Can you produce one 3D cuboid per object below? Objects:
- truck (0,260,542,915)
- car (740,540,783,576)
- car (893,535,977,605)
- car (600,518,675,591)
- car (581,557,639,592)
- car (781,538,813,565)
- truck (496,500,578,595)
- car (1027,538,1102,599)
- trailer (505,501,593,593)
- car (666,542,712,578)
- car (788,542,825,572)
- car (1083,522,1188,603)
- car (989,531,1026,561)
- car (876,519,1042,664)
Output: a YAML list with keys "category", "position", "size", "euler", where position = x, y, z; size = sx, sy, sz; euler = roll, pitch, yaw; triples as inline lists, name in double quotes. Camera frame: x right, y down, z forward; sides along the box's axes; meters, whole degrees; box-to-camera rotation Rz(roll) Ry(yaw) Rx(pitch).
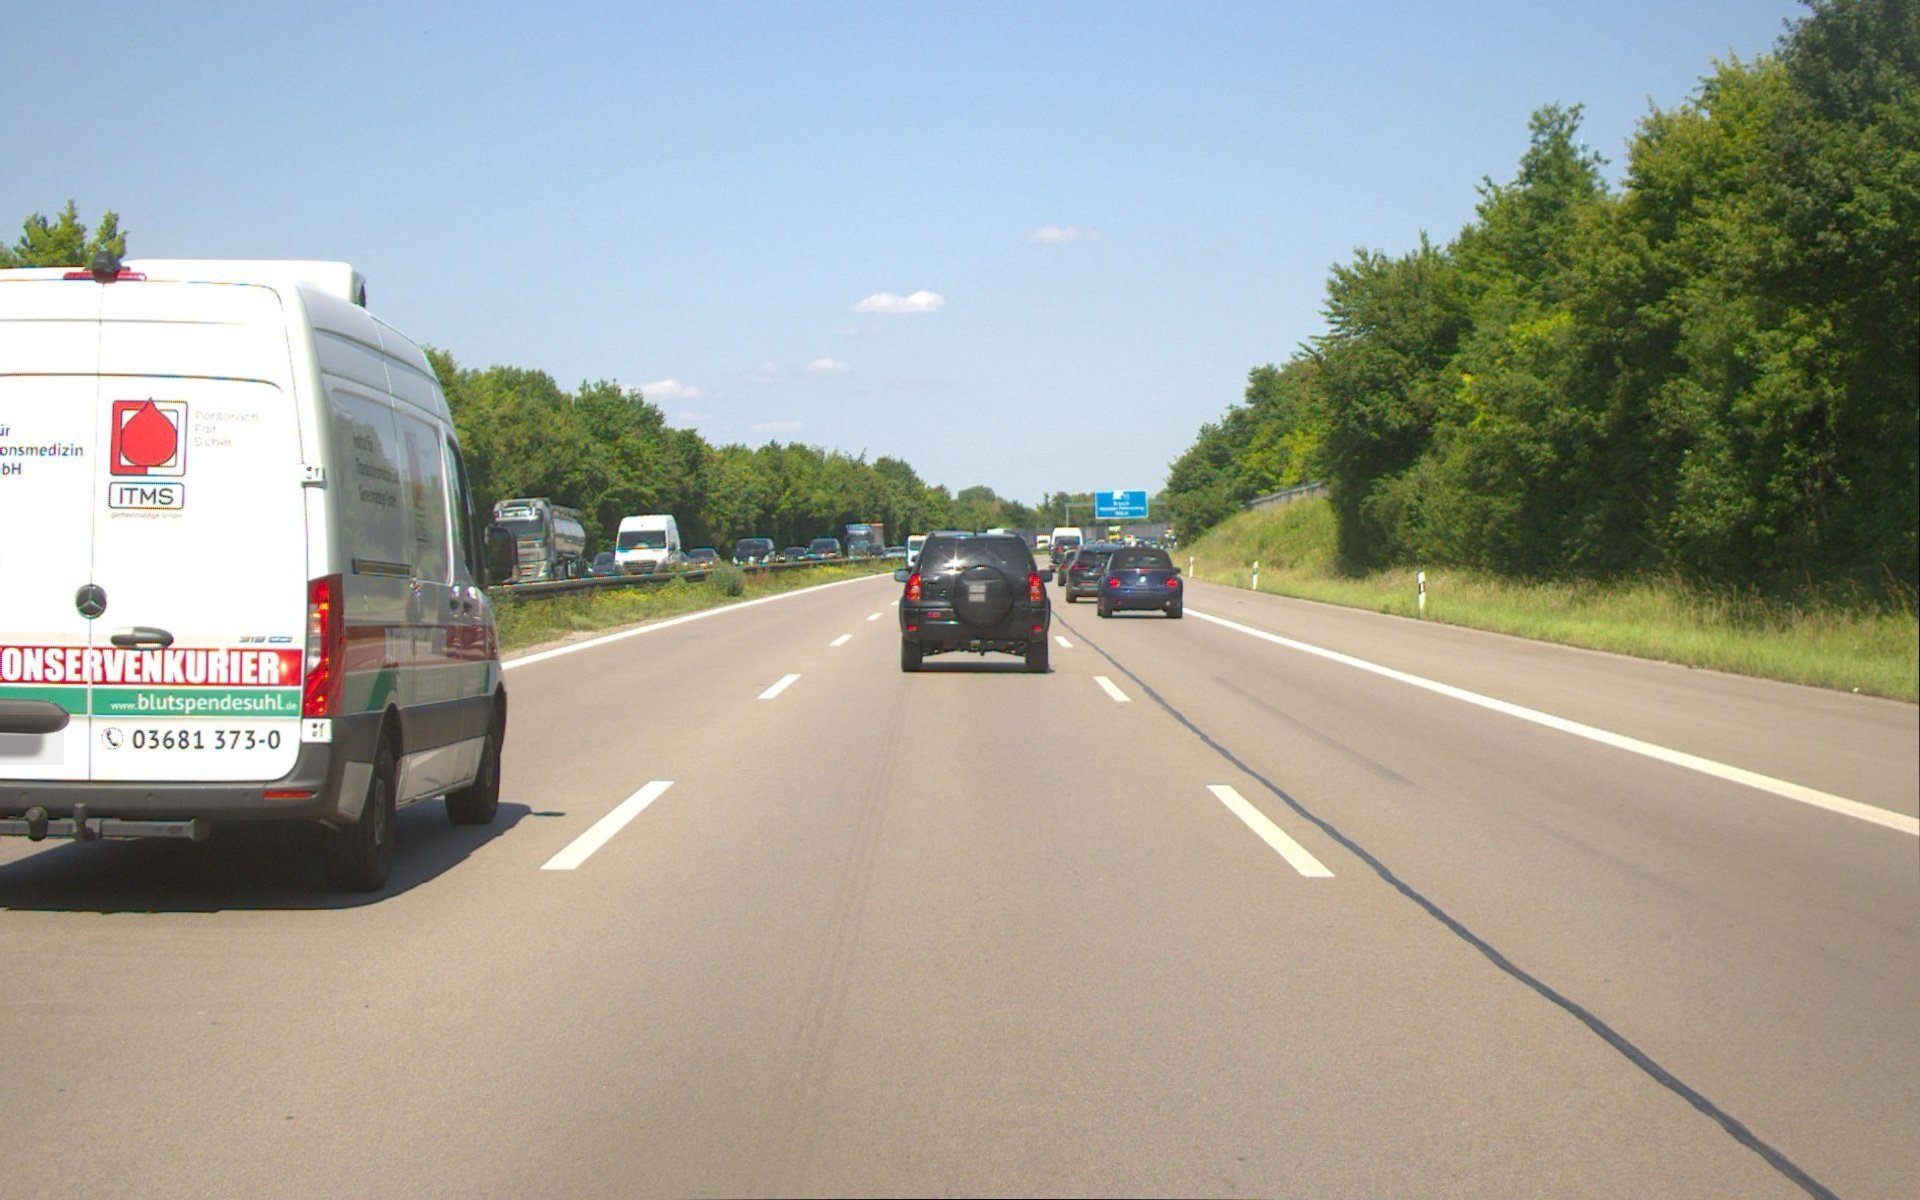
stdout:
- category: "truck"
  position: [-3.466, -0.124, 16.760]
  size: [1.993, 2.533, 6.692]
  euler: [1, 1, 0]
- category: "car"
  position: [-10.076, -2.126, 174.793]
  size: [1.906, 1.782, 5.060]
  euler: [-1, 1, 0]
- category: "car"
  position: [-0.608, -0.776, 86.820]
  size: [1.993, 1.700, 4.336]
  euler: [-1, 1, 1]
- category: "car"
  position: [-11.631, -1.668, 124.429]
  size: [2.070, 2.547, 6.401]
  euler: [-1, 1, 0]
- category: "car"
  position: [-14.653, -1.067, 144.214]
  size: [1.906, 1.411, 4.891]
  euler: [-1, 1, 0]
- category: "car"
  position: [-11.489, -3.415, 242.836]
  size: [1.993, 1.848, 4.499]
  euler: [0, 0, 0]
- category: "truck"
  position: [-18.313, -2.285, 149.154]
  size: [2.731, 3.869, 6.323]
  euler: [-3, 1, -1]
- category: "car"
  position: [2.840, -0.839, 93.792]
  size: [1.842, 1.606, 4.000]
  euler: [0, 0, -1]
- category: "trailer"
  position: [-18.408, -2.395, 154.445]
  size: [2.766, 3.869, 9.458]
  euler: [-3, 1, -1]
- category: "car"
  position: [-14.428, -2.137, 183.300]
  size: [1.993, 1.848, 4.499]
  euler: [0, 0, 2]
- category: "car"
  position: [-9.704, -2.727, 217.795]
  size: [1.993, 1.848, 4.499]
  euler: [0, 0, 2]
- category: "car"
  position: [3.730, -0.778, 73.802]
  size: [1.993, 1.678, 4.000]
  euler: [0, 0, -1]
- category: "car"
  position: [2.799, -3.218, 203.498]
  size: [1.993, 1.744, 4.205]
  euler: [-1, 1, -2]
- category: "car"
  position: [-0.020, -0.099, 41.699]
  size: [1.906, 1.659, 4.000]
  euler: [0, 0, 0]
